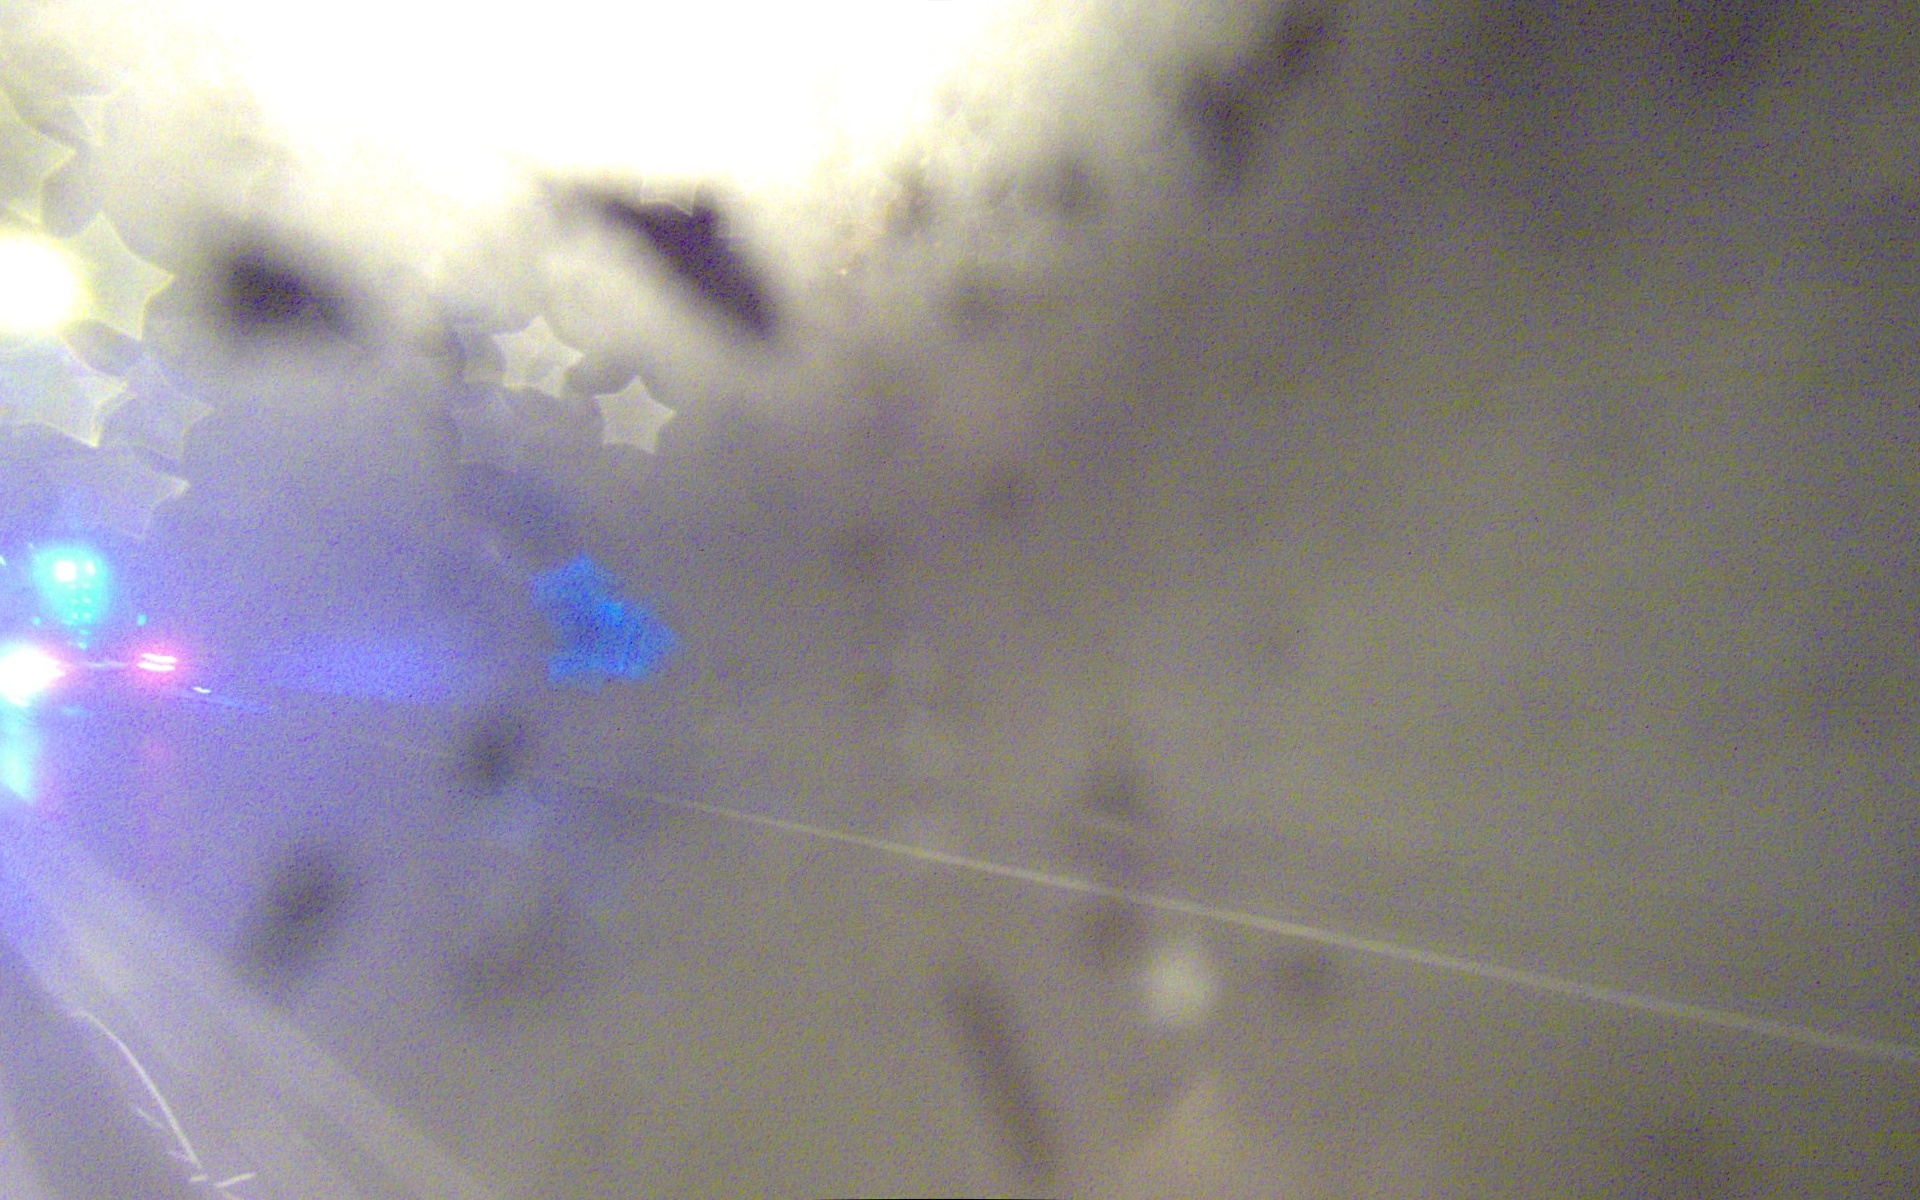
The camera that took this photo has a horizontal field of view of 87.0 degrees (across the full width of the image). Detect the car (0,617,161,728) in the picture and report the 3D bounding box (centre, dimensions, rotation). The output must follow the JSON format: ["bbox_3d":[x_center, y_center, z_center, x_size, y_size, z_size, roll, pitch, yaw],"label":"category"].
[{"bbox_3d":[-13.700,1.026,15.496,3.573,1.473,1.693,-1,-1,41],"label":"car"}]
